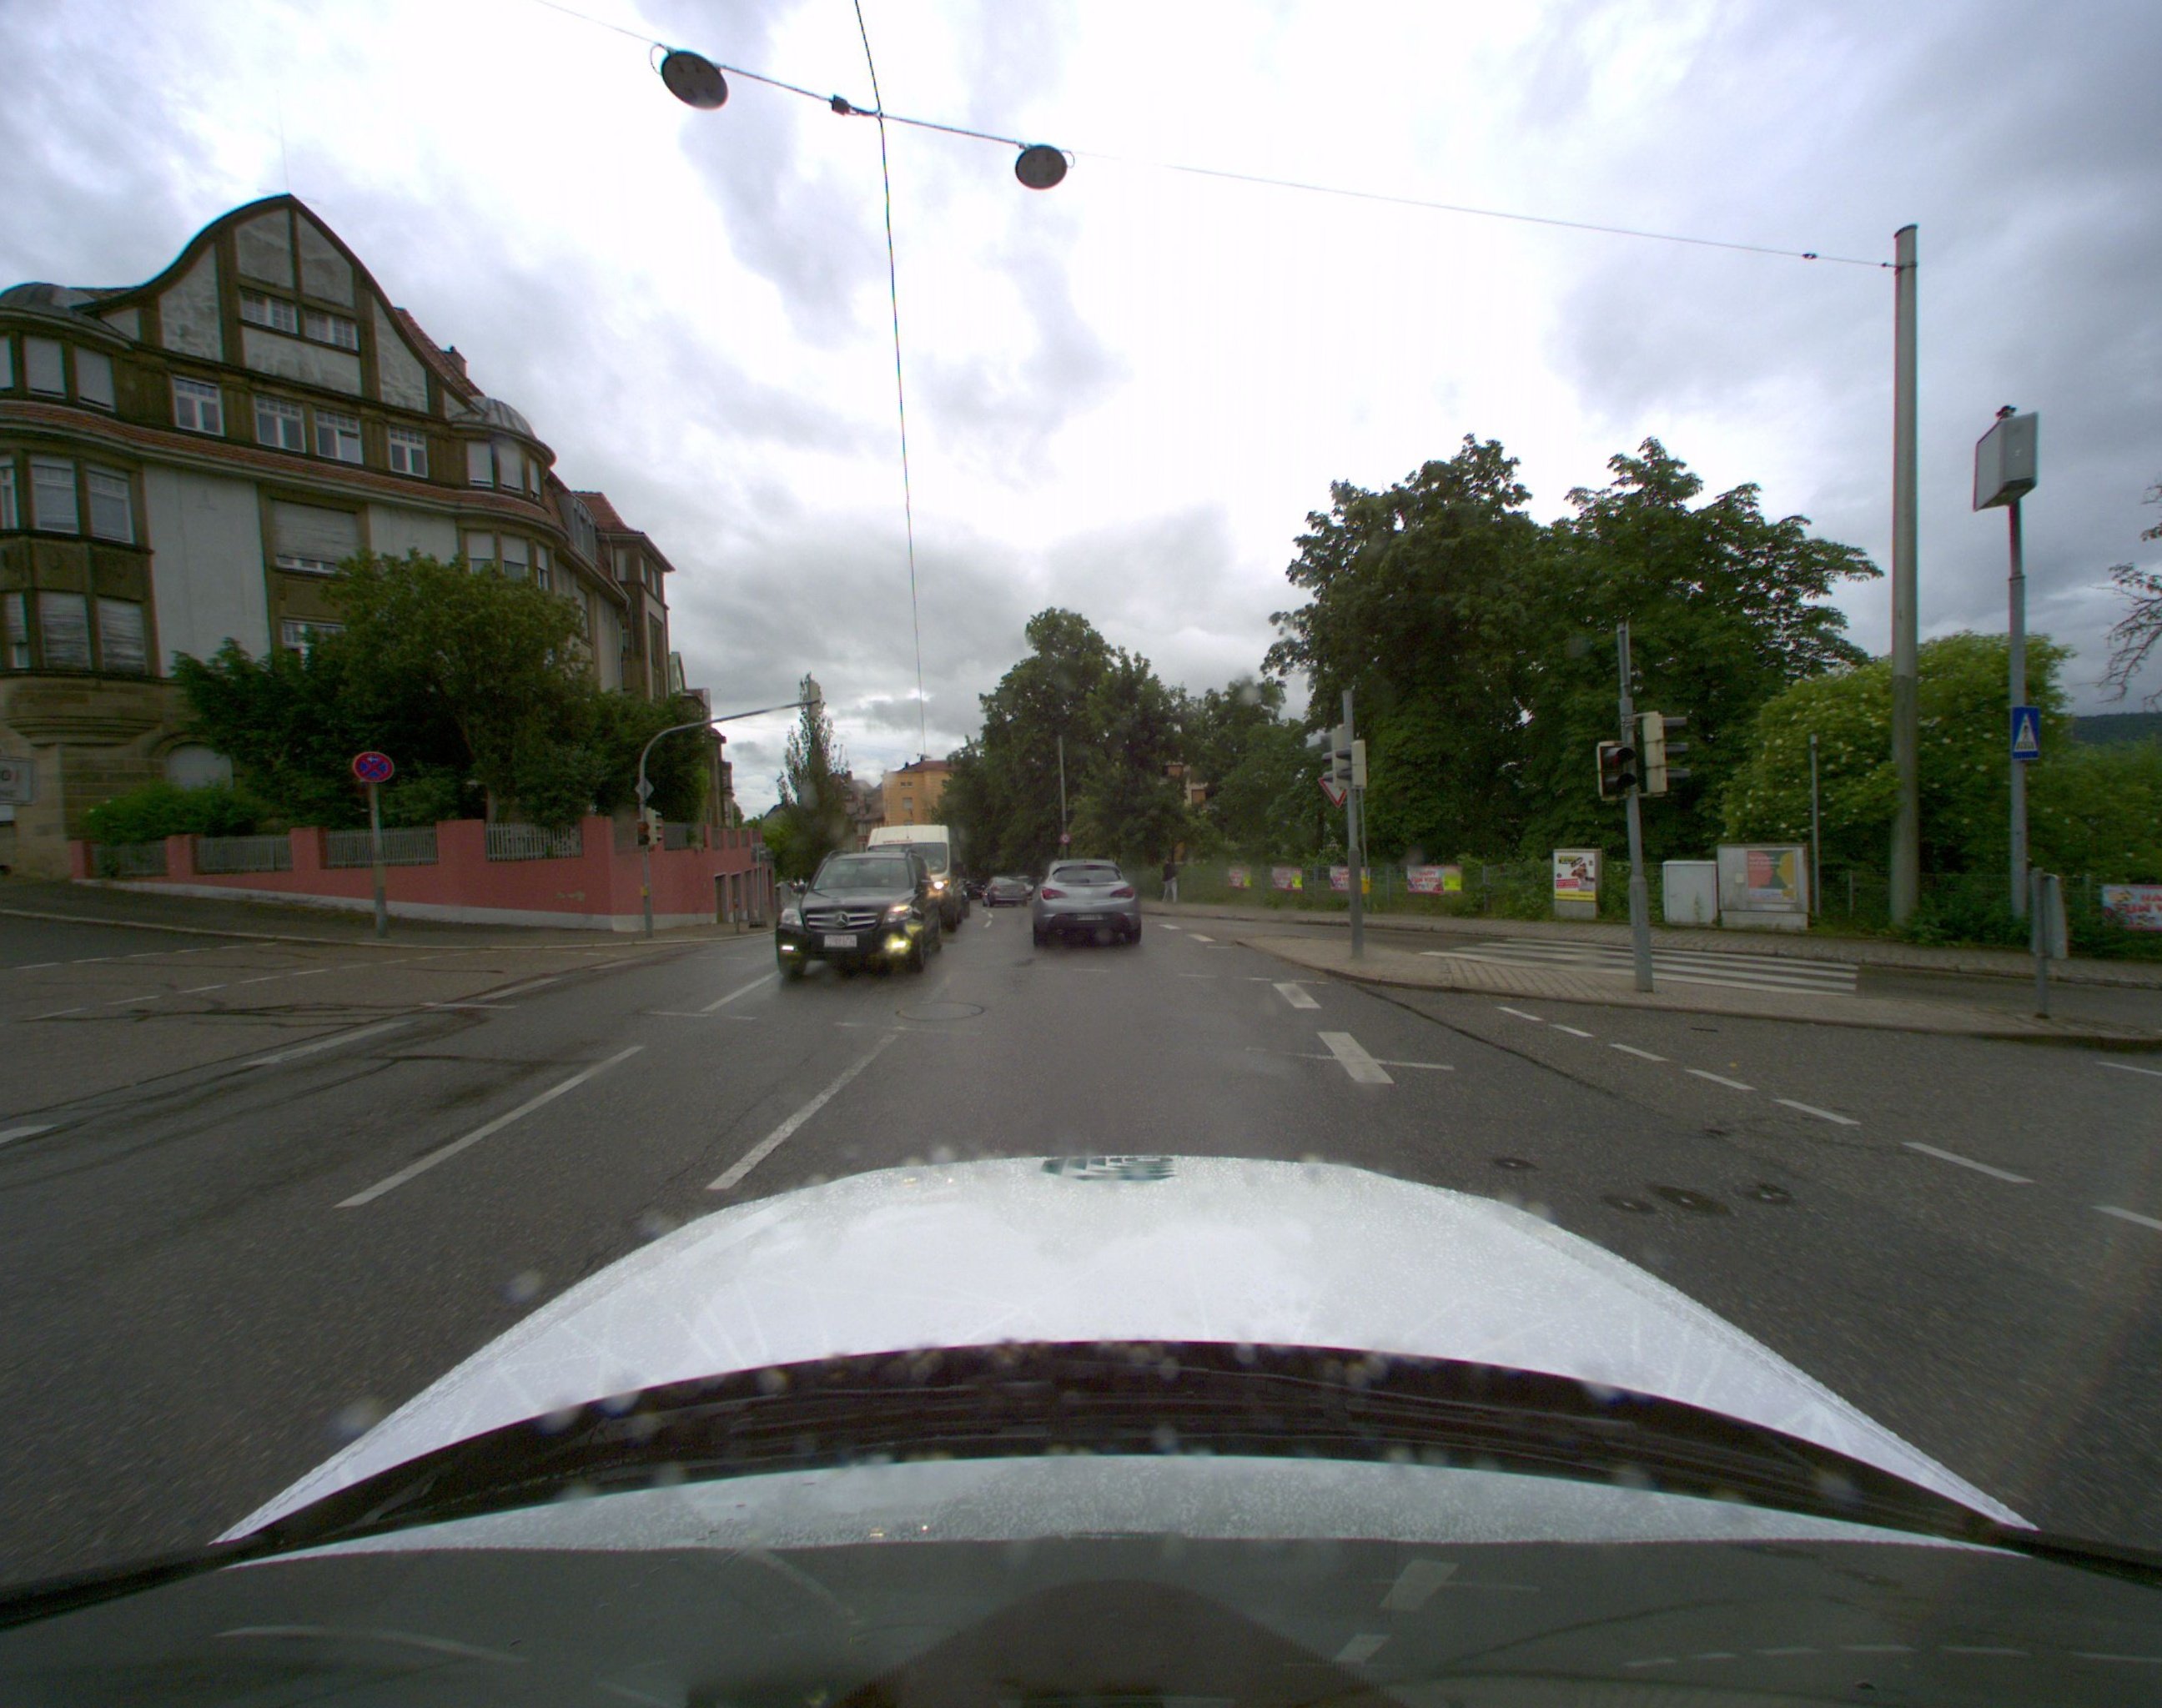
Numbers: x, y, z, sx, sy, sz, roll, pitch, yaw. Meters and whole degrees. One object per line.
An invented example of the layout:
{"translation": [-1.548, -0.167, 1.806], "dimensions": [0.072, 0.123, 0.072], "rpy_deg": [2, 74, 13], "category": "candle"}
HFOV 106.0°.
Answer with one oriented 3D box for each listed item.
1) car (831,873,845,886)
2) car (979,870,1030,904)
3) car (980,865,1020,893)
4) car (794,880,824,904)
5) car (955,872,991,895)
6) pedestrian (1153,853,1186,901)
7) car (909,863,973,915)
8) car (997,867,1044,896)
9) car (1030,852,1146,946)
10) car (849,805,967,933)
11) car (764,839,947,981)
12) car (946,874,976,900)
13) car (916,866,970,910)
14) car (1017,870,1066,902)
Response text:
{"translation": [-37.797, 4.028, 126.661], "dimensions": [1.787, 1.855, 3.973], "rpy_deg": [-2, -2, -19], "category": "car"}
{"translation": [-3.615, 1.565, 37.916], "dimensions": [1.779, 1.430, 3.767], "rpy_deg": [-2, -2, -14], "category": "car"}
{"translation": [-5.743, 1.763, 57.257], "dimensions": [1.825, 1.683, 4.776], "rpy_deg": [-5, -1, -16], "category": "car"}
{"translation": [-19.793, 2.757, 59.372], "dimensions": [1.818, 1.613, 3.978], "rpy_deg": [-1, -2, -16], "category": "car"}
{"translation": [-8.844, 2.390, 66.410], "dimensions": [1.983, 1.609, 4.454], "rpy_deg": [-5, -1, -19], "category": "car"}
{"translation": [3.108, 0.811, 28.667], "dimensions": [0.766, 1.605, 0.961], "rpy_deg": [-5, -1, -13], "category": "pedestrian"}
{"translation": [-4.512, 1.100, 26.141], "dimensions": [1.816, 1.430, 3.984], "rpy_deg": [-3, -1, -11], "category": "car"}
{"translation": [-3.857, 1.766, 51.363], "dimensions": [1.821, 1.494, 3.974], "rpy_deg": [-8, -1, -19], "category": "car"}
{"translation": [0.004, 0.732, 15.097], "dimensions": [1.811, 1.430, 3.995], "rpy_deg": [-2, 0, -3], "category": "car"}
{"translation": [-3.943, 0.375, 19.542], "dimensions": [2.115, 2.546, 5.527], "rpy_deg": [-3, -1, -6], "category": "car"}
{"translation": [-3.062, 0.679, 11.974], "dimensions": [1.819, 1.652, 4.337], "rpy_deg": [-1, 0, -6], "category": "car"}
{"translation": [-7.163, 1.952, 48.480], "dimensions": [1.385, 1.412, 3.439], "rpy_deg": [-2, -1, -14], "category": "car"}
{"translation": [-5.738, 1.368, 33.447], "dimensions": [1.877, 1.575, 4.564], "rpy_deg": [-2, -1, -13], "category": "car"}
{"translation": [-2.073, 1.619, 41.533], "dimensions": [1.652, 1.404, 3.793], "rpy_deg": [-4, -1, -15], "category": "car"}
